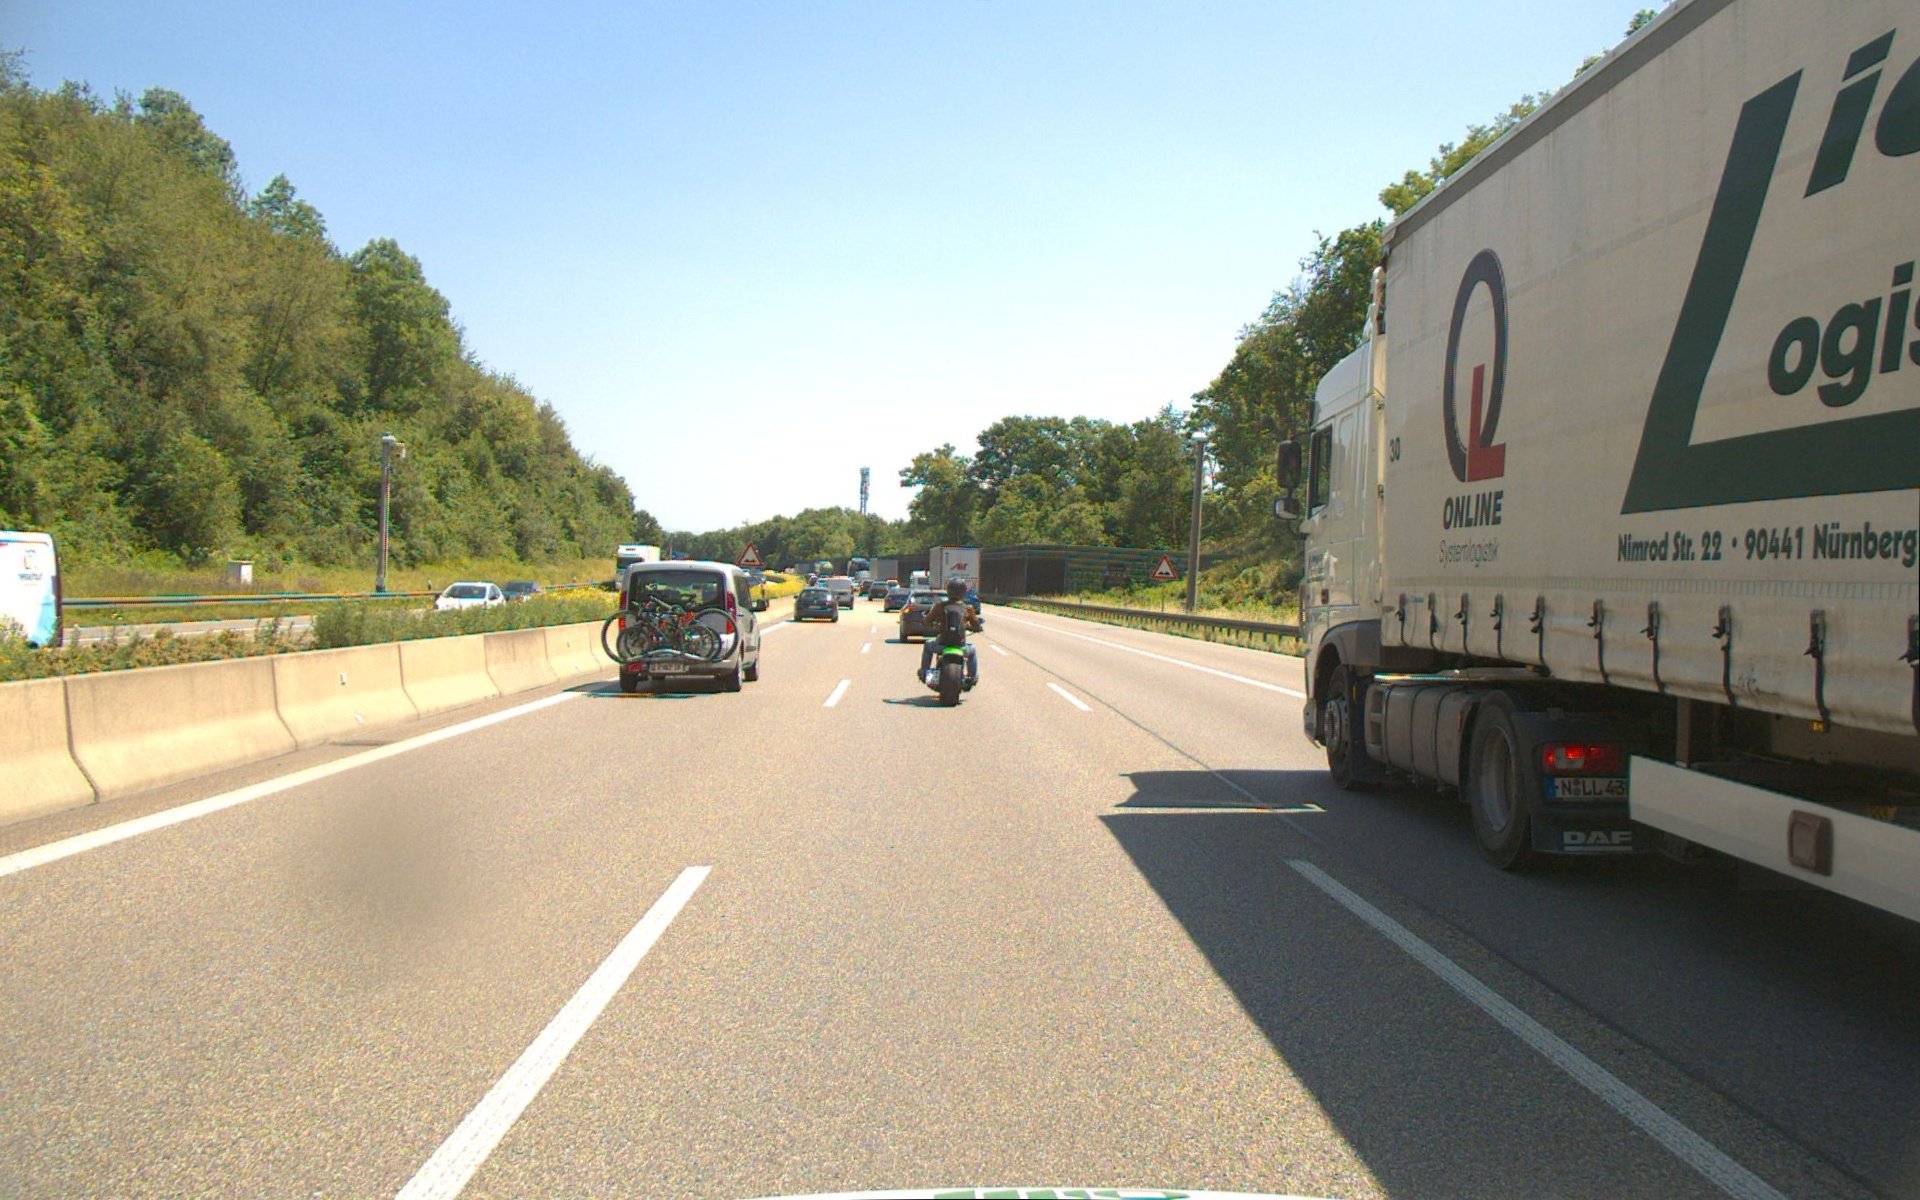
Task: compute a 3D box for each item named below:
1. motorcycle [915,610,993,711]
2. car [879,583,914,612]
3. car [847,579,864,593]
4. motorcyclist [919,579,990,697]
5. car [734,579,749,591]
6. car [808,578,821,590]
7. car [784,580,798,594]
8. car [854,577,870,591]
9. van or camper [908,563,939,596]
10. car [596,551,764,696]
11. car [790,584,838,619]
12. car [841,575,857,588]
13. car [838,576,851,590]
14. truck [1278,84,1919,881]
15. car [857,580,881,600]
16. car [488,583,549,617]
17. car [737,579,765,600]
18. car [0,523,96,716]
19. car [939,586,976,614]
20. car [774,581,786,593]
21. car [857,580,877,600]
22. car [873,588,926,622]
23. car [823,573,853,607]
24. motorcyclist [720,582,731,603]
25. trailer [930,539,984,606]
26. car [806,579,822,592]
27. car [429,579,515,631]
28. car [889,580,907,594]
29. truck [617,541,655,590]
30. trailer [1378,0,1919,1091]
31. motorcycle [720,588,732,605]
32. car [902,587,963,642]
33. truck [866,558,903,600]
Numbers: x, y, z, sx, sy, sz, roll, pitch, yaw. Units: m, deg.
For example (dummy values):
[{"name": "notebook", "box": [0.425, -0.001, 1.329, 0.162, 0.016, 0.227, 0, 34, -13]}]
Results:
[{"name": "motorcycle", "box": [-0.088, 0.765, 22.016, 0.945, 1.168, 2.811, 2, 1, -1]}, {"name": "car", "box": [-3.639, -0.130, 94.367, 1.745, 1.579, 3.581, 1, 0, -5]}, {"name": "car", "box": [-12.010, -1.597, 189.152, 1.797, 1.522, 3.739, 1, 0, -6]}, {"name": "motorcyclist", "box": [-0.080, 0.488, 22.056, 0.881, 1.500, 1.872, 1, 0, -1]}, {"name": "car", "box": [-26.631, -1.816, 201.615, 1.591, 1.410, 4.134, 1, 0, -4]}, {"name": "car", "box": [-20.340, -2.211, 231.182, 1.797, 1.522, 3.739, 1, 0, -6]}, {"name": "car", "box": [-22.531, -1.755, 220.464, 1.746, 1.854, 3.902, 1, 0, -5]}, {"name": "car", "box": [-14.104, -2.313, 237.457, 2.068, 1.909, 3.993, 1, 0, -8]}, {"name": "van or camper", "box": [-3.391, -1.836, 151.883, 2.631, 2.862, 6.799, 1, 0, -3]}, {"name": "car", "box": [-4.004, 0.328, 24.328, 1.861, 1.906, 4.410, 1, 0, -3]}, {"name": "car", "box": [-6.138, 0.070, 69.790, 1.954, 1.411, 3.996, 1, 0, -4]}, {"name": "car", "box": [-16.364, -2.695, 243.012, 2.068, 1.909, 3.993, 1, 0, -8]}, {"name": "car", "box": [-15.823, -2.278, 225.853, 1.691, 1.775, 3.861, 1, 0, -5]}, {"name": "truck", "box": [4.323, -0.687, 11.951, 2.729, 4.278, 5.869, 1, 1, -1]}, {"name": "car", "box": [-7.711, -0.854, 140.714, 1.954, 1.668, 3.998, 1, 0, -3]}, {"name": "car", "box": [-20.805, -0.028, 78.086, 1.954, 1.534, 3.998, 0, 1, -3]}, {"name": "car", "box": [-17.568, -0.914, 139.077, 1.953, 1.707, 4.079, 1, 1, -2]}, {"name": "car", "box": [-11.160, 0.185, 17.058, 1.953, 2.049, 4.899, 1, 0, -1]}, {"name": "car", "box": [-0.169, 0.013, 95.070, 1.619, 1.508, 4.475, 1, 0, -7]}, {"name": "car", "box": [-28.287, -2.068, 260.413, 1.800, 1.881, 3.773, 1, 0, -6]}, {"name": "car", "box": [-9.534, -1.004, 168.843, 1.874, 2.049, 3.686, 1, 0, -5]}, {"name": "car", "box": [-2.727, 0.210, 73.443, 1.956, 1.455, 3.840, 1, 0, -8]}, {"name": "car", "box": [-7.413, -0.594, 101.081, 1.756, 2.049, 3.639, 1, 0, -4]}, {"name": "motorcyclist", "box": [-15.305, -0.488, 108.055, 0.610, 1.357, 0.577, 1, 0, -1]}, {"name": "trailer", "box": [-0.332, -1.827, 110.898, 2.828, 4.109, 13.787, 1, 1, -3]}, {"name": "car", "box": [-17.081, -1.668, 193.029, 1.797, 1.522, 3.739, 1, 0, -6]}, {"name": "car", "box": [-15.194, 0.143, 51.691, 1.637, 1.534, 3.827, 1, 0, -2]}, {"name": "car", "box": [-7.390, -1.484, 196.109, 1.954, 1.601, 3.996, 1, 0, -4]}, {"name": "truck", "box": [-28.566, -3.030, 146.089, 2.637, 4.161, 5.198, 1, 0, -5]}, {"name": "trailer", "box": [4.421, -0.560, 4.891, 2.729, 4.278, 13.242, 1, 1, -1]}, {"name": "motorcycle", "box": [-15.310, -0.231, 108.099, 0.611, 1.051, 1.466, 1, 0, -2]}, {"name": "car", "box": [-0.821, 0.396, 47.297, 1.629, 1.478, 3.867, 1, 0, -2]}, {"name": "truck", "box": [-9.586, -2.560, 207.921, 3.732, 5.046, 8.933, 1, 0, -8]}]
